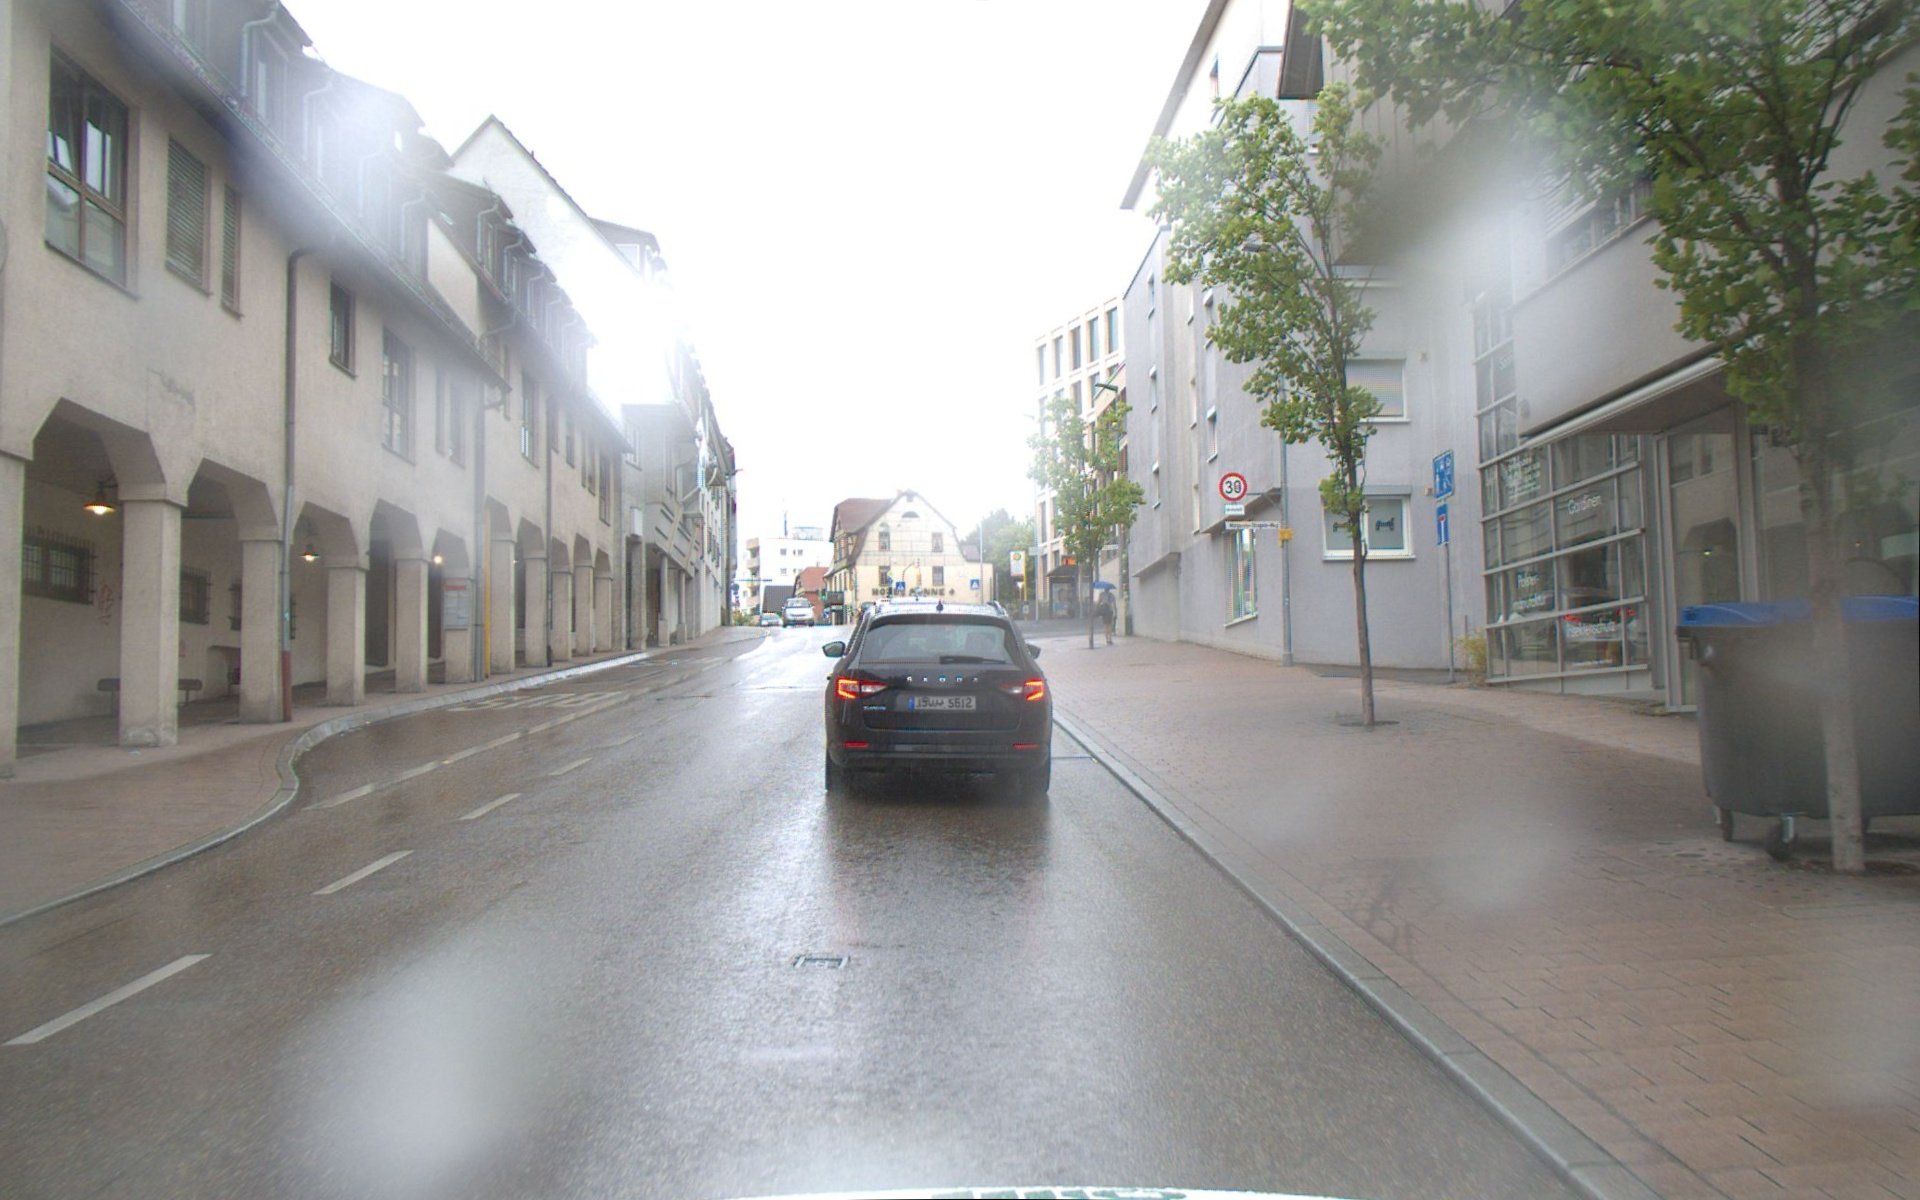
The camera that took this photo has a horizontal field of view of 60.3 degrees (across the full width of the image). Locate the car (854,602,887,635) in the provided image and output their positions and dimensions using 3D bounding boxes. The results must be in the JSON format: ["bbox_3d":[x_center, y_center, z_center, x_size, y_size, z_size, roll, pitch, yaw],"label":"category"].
[{"bbox_3d":[-5.902,1.223,109.046,1.953,2.049,3.999,-1,-1,-1],"label":"car"}]

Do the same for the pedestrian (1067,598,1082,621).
[{"bbox_3d":[5.921,0.498,85.643,0.658,1.182,0.635,-3,0,-3],"label":"pedestrian"}]

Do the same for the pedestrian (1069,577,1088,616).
[{"bbox_3d":[6.041,-0.180,84.257,0.766,1.974,1.020,-3,0,-2],"label":"pedestrian"}]

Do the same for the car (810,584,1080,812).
[{"bbox_3d":[-0.125,0.699,13.986,1.905,1.594,4.416,-1,0,-1],"label":"car"}]

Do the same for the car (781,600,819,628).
[{"bbox_3d":[-9.116,0.803,94.495,1.642,1.536,3.590,-1,0,2],"label":"car"}]

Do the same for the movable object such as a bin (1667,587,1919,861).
[{"bbox_3d":[4.753,0.631,9.069,1.209,1.358,1.172,-2,0,-1],"label":"movable object such as a bin"}]

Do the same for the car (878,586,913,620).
[{"bbox_3d":[-3.215,0.169,82.080,1.647,1.587,3.998,-2,0,-3],"label":"car"}]

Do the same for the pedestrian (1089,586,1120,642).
[{"bbox_3d":[4.223,0.419,48.272,0.721,1.569,1.038,-4,0,0],"label":"pedestrian"}]

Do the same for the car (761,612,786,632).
[{"bbox_3d":[-14.261,1.657,126.463,1.646,1.434,3.580,-1,0,-10],"label":"car"}]

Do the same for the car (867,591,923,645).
[{"bbox_3d":[-2.058,0.551,51.926,1.647,1.587,3.998,-2,0,-3],"label":"car"}]

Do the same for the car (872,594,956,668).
[{"bbox_3d":[-1.071,0.667,37.143,1.644,1.536,3.585,-1,0,-5],"label":"car"}]
